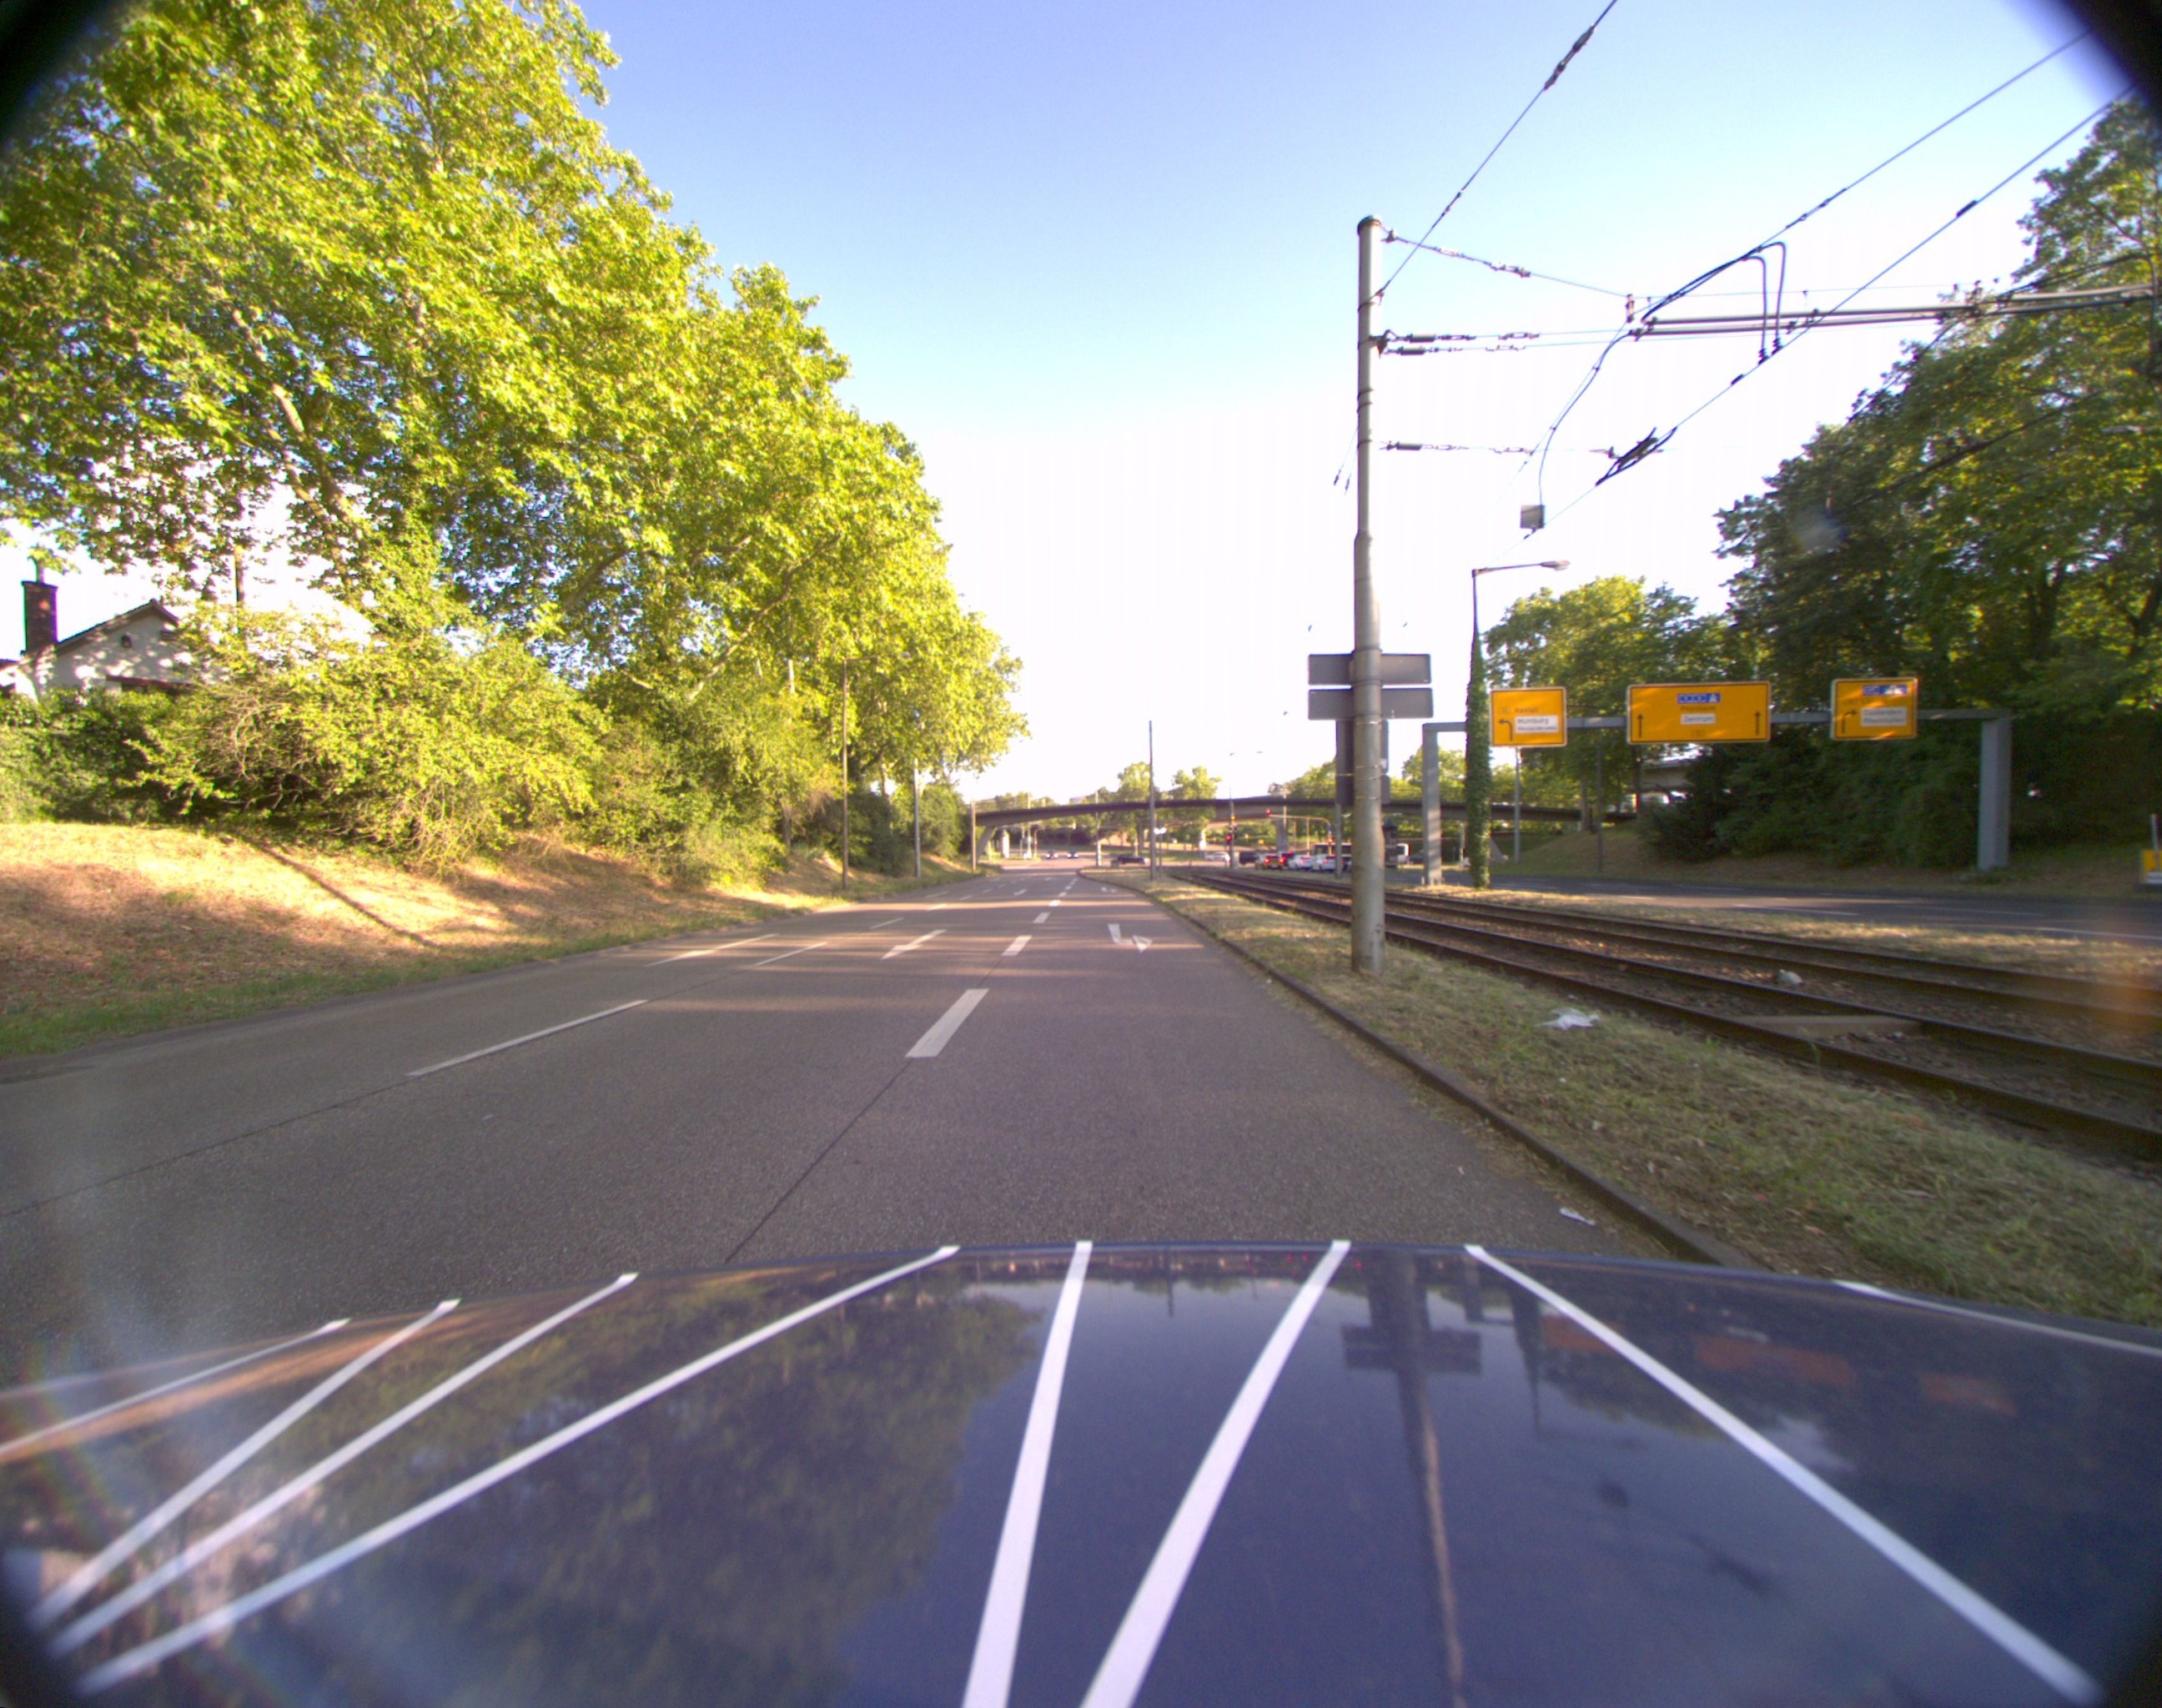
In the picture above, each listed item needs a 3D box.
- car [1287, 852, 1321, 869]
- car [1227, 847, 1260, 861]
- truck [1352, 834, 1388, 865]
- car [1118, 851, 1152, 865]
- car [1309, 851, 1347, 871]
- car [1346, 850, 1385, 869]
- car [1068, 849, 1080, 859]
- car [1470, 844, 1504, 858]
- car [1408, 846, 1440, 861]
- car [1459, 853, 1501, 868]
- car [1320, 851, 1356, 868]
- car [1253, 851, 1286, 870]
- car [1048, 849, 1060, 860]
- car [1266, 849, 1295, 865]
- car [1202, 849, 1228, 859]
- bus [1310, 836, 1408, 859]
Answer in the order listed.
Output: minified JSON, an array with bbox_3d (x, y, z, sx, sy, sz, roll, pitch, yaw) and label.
[{"bbox_3d":[19.911,0.566,68.096,1.918,1.416,4.227,-1,0,2],"label":"car"},{"bbox_3d":[20.216,0.008,94.483,3.993,1.646,1.786,-2,1,14],"label":"car"},{"bbox_3d":[28.377,-0.429,74.811,2.281,2.862,6.887,-1,0,13],"label":"truck"},{"bbox_3d":[6.938,0.476,97.009,3.993,1.646,1.786,-2,1,14],"label":"car"},{"bbox_3d":[20.022,0.549,61.817,1.767,1.535,4.000,-1,0,0],"label":"car"},{"bbox_3d":[23.962,0.442,64.101,1.813,1.535,4.000,-1,0,1],"label":"car"},{"bbox_3d":[-1.265,0.041,141.890,1.905,1.726,3.998,-2,0,-5],"label":"car"},{"bbox_3d":[55.956,-0.419,104.723,3.890,1.848,1.679,-2,1,20],"label":"car"},{"bbox_3d":[46.978,-0.079,104.212,3.805,1.848,1.679,-2,1,20],"label":"car"},{"bbox_3d":[44.367,0.725,84.622,4.020,1.485,1.626,-2,1,23],"label":"car"},{"bbox_3d":[23.733,0.487,70.221,1.868,1.416,4.226,-1,0,0],"label":"car"},{"bbox_3d":[16.142,0.514,65.247,1.767,1.535,4.000,-1,0,0],"label":"car"},{"bbox_3d":[-4.909,0.095,139.214,1.960,1.779,3.998,-2,0,-5],"label":"car"},{"bbox_3d":[19.576,0.273,74.753,1.917,1.540,4.227,-1,0,4],"label":"car"},{"bbox_3d":[20.898,-0.028,118.722,3.647,1.503,1.665,-2,1,20],"label":"car"},{"bbox_3d":[40.510,-0.948,110.992,13.162,2.846,2.421,-2,1,23],"label":"bus"}]
